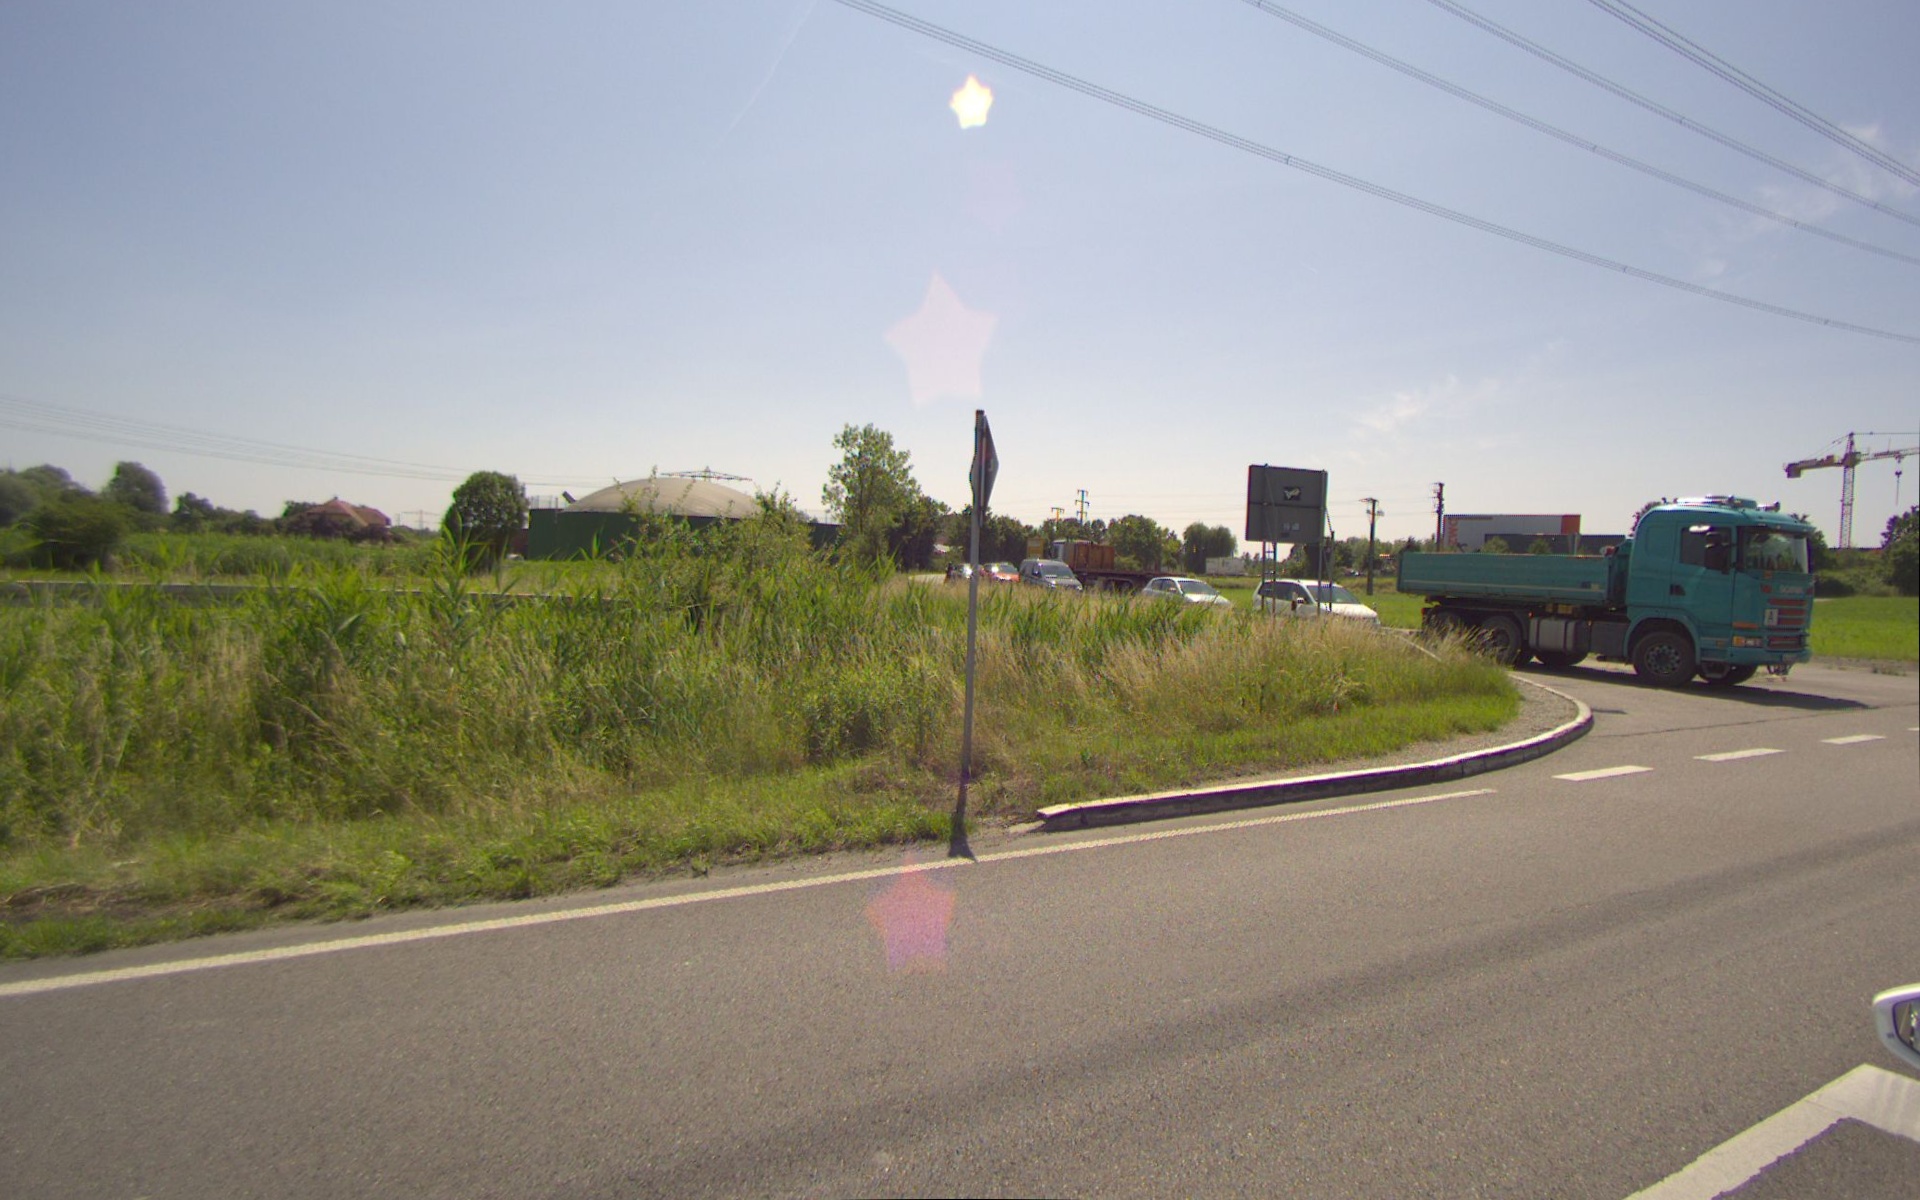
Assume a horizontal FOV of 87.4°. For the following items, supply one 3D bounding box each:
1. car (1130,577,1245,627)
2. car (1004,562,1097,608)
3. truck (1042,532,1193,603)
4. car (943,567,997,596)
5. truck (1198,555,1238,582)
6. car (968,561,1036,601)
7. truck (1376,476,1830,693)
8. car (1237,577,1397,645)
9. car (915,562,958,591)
[{"bbox_3d":[7.557,0.015,33.791,1.691,1.490,4.427,1,1,-19],"label":"car"},{"bbox_3d":[3.869,-0.703,43.979,2.057,1.893,4.927,0,3,-21],"label":"car"},{"bbox_3d":[7.925,-1.608,52.326,2.792,3.332,9.637,0,1,-25],"label":"truck"},{"bbox_3d":[0.513,-1.060,56.201,1.754,1.498,3.982,1,2,-19],"label":"car"},{"bbox_3d":[50.578,-6.075,196.332,3.626,4.708,13.207,3,1,32],"label":"truck"},{"bbox_3d":[2.041,-0.989,50.459,1.886,1.874,4.463,1,2,-19],"label":"car"},{"bbox_3d":[13.105,-0.453,21.530,2.466,3.785,7.873,1,3,-27],"label":"truck"},{"bbox_3d":[9.803,0.234,28.013,1.935,1.634,4.540,1,2,-15],"label":"car"},{"bbox_3d":[-1.502,-1.440,62.646,1.965,1.691,3.991,1,1,-12],"label":"car"}]
